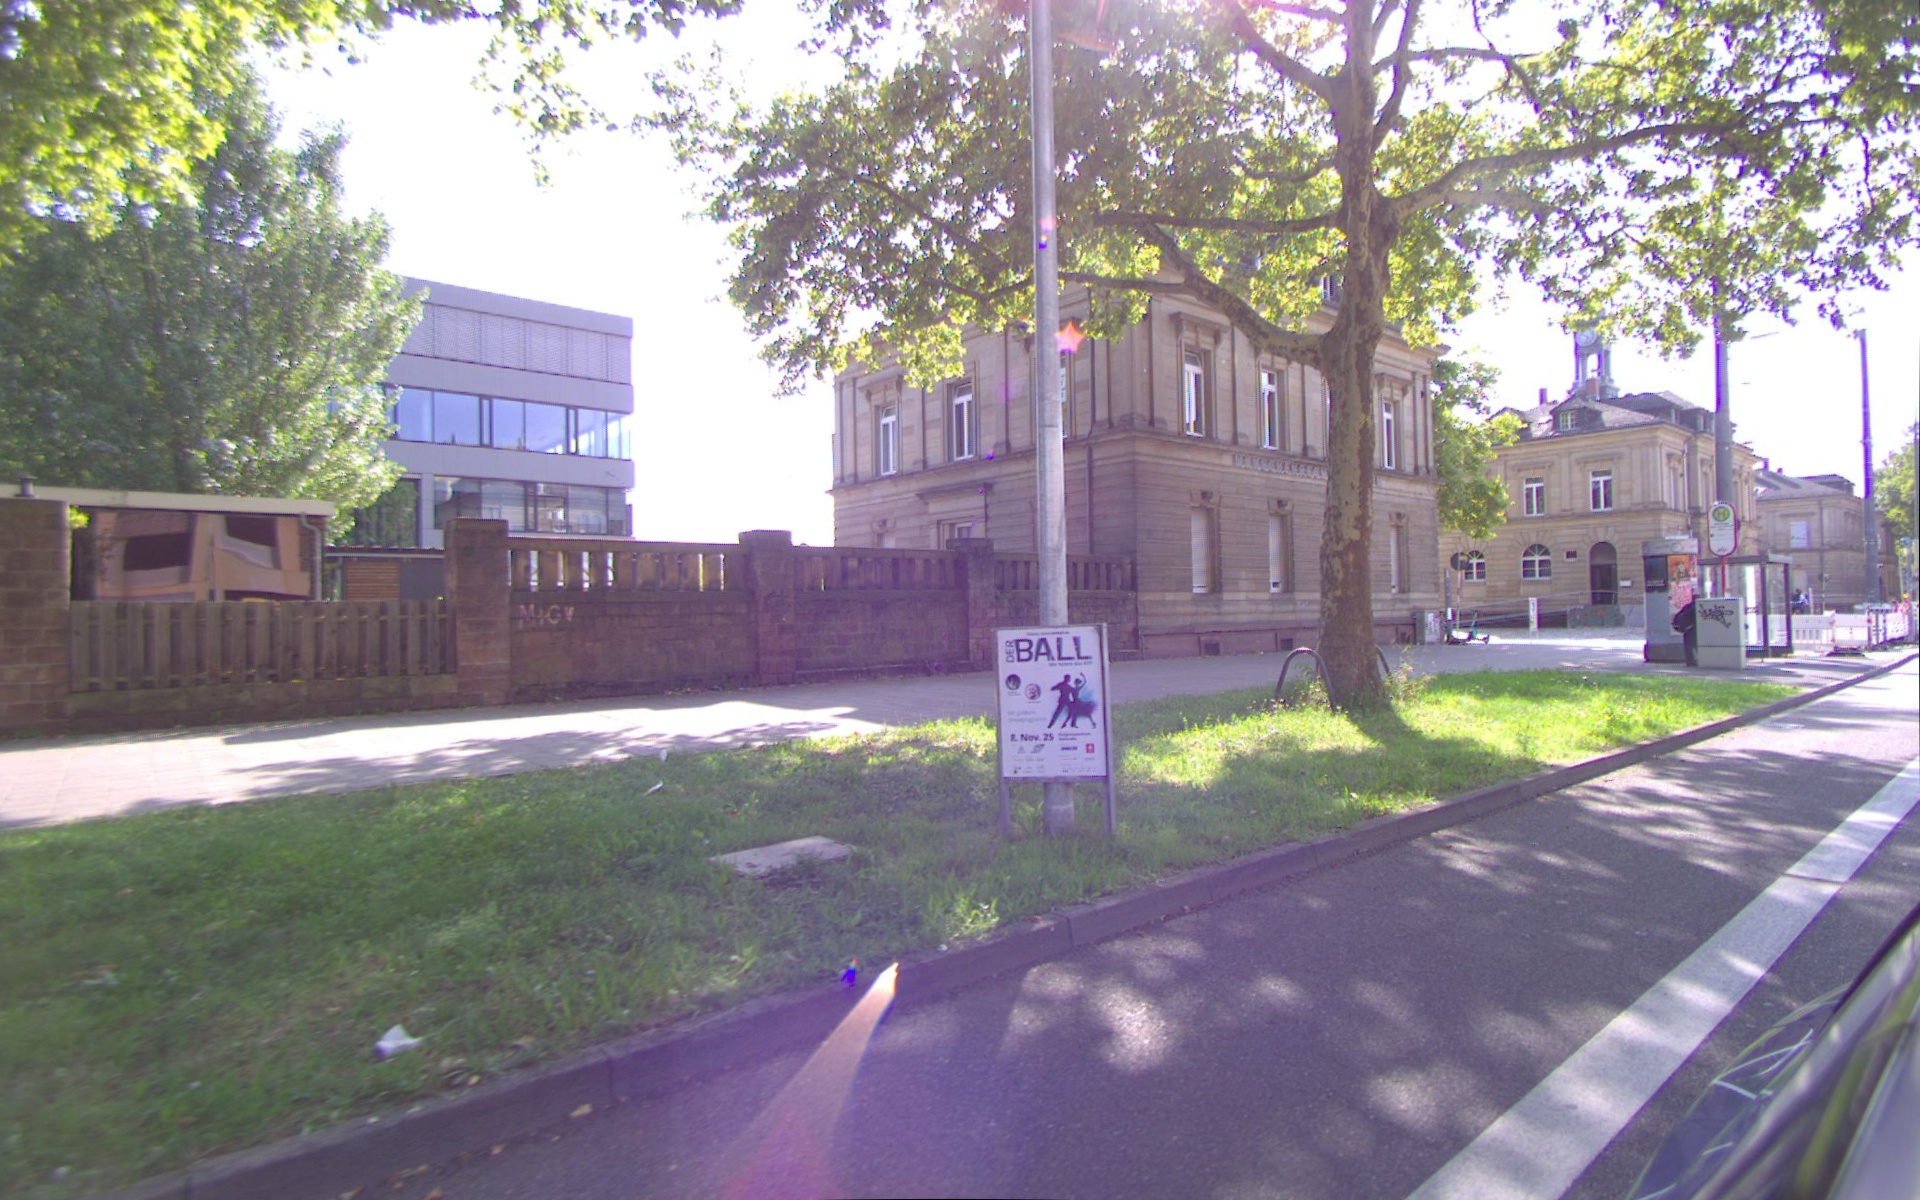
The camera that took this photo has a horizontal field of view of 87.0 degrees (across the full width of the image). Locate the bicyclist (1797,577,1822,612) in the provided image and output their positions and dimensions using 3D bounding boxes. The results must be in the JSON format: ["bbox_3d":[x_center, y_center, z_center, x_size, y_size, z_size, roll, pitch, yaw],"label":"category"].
[{"bbox_3d":[38.593,-0.238,45.979,0.939,1.563,0.718,1,-2,-43],"label":"bicyclist"}]

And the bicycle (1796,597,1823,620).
[{"bbox_3d":[38.533,0.382,45.896,1.871,1.055,0.718,0,-1,-43],"label":"bicycle"}]

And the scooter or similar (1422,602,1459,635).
[{"bbox_3d":[18.130,0.707,38.224,1.242,1.225,0.419,0,-2,25],"label":"scooter or similar"}]

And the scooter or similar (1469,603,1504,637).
[{"bbox_3d":[19.443,0.736,37.377,1.228,1.225,0.423,1,-2,-18],"label":"scooter or similar"}]

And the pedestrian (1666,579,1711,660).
[{"bbox_3d":[15.766,0.426,21.923,0.683,1.718,0.642,-1,-1,29],"label":"pedestrian"}]
